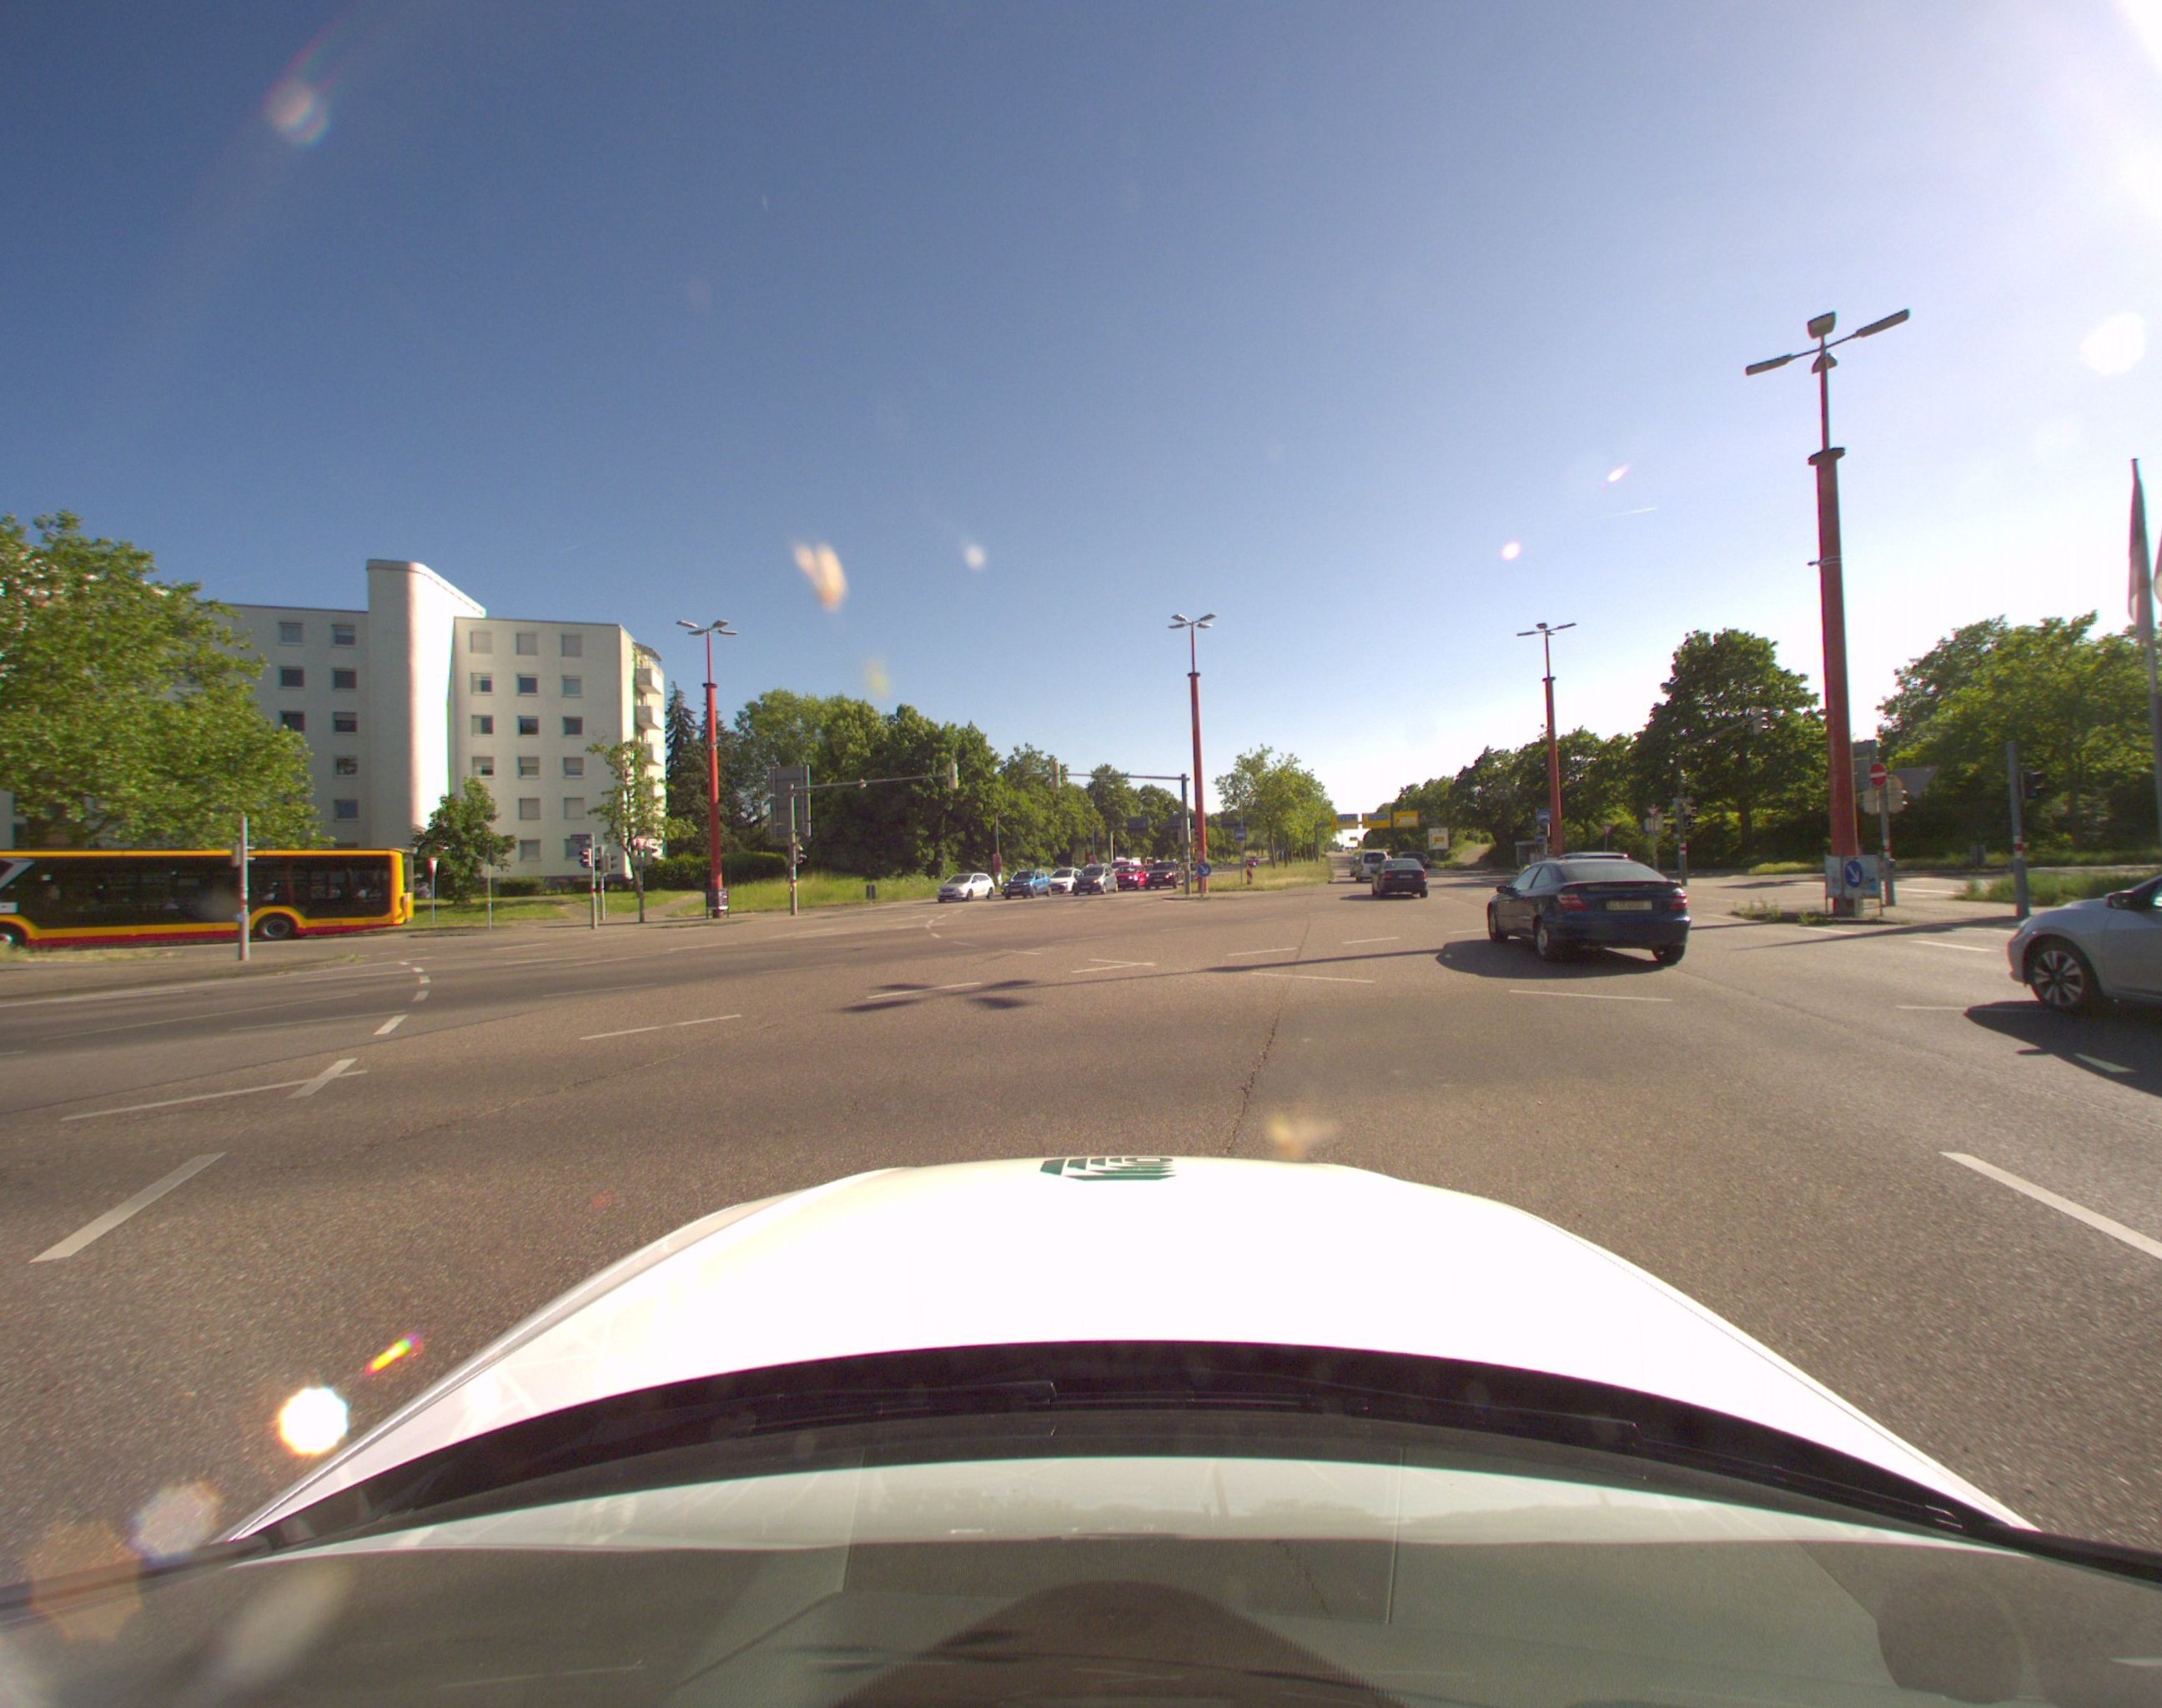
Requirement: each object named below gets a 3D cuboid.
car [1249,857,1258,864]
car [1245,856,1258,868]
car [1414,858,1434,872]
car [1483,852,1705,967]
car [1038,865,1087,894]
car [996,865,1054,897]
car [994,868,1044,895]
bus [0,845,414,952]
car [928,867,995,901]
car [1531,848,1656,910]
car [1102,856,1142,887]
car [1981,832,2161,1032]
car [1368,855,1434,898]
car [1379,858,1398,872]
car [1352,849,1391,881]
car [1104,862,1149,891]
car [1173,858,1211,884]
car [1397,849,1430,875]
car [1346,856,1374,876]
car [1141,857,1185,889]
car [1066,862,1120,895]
[{"bbox_3d":[43.287,1.596,204.818,1.901,1.846,3.977,-2,-1,16],"label":"car"},{"bbox_3d":[27.473,1.224,131.393,1.903,1.846,3.971,-2,-1,10],"label":"car"},{"bbox_3d":[38.134,1.203,90.584,1.582,1.491,3.697,-1,-1,16],"label":"car"},{"bbox_3d":[7.407,0.723,12.236,1.705,1.420,4.066,-2,-1,16],"label":"car"},{"bbox_3d":[-1.072,1.512,48.972,1.887,1.555,4.015,-3,-1,14],"label":"car"},{"bbox_3d":[-2.892,1.414,43.068,1.787,1.516,3.875,-4,-1,16],"label":"car"},{"bbox_3d":[-3.987,1.761,52.882,1.870,1.513,4.017,-3,-1,16],"label":"car"},{"bbox_3d":[-31.062,1.392,27.808,12.581,3.261,2.627,0,-1,-33],"label":"bus"},{"bbox_3d":[-6.327,1.573,43.720,1.862,1.652,4.237,-3,-2,17],"label":"car"},{"bbox_3d":[13.592,0.639,21.876,1.754,1.508,4.243,-1,-1,16],"label":"car"},{"bbox_3d":[3.169,1.291,61.922,1.947,2.155,5.102,-2,-1,15],"label":"car"},{"bbox_3d":[8.933,0.581,5.619,1.708,1.517,4.155,-1,0,16],"label":"car"},{"bbox_3d":[11.937,0.798,30.612,1.701,1.454,4.213,-2,-1,14],"label":"car"},{"bbox_3d":[35.153,1.239,93.226,1.703,1.608,3.863,-1,-1,16],"label":"car"},{"bbox_3d":[17.423,0.650,49.010,1.791,1.821,4.604,-1,-1,15],"label":"car"},{"bbox_3d":[2.810,1.338,49.308,1.861,1.552,4.015,-5,-2,14],"label":"car"},{"bbox_3d":[7.310,1.087,53.507,1.871,1.543,4.016,-3,-1,15],"label":"car"},{"bbox_3d":[26.383,0.630,64.751,1.790,1.852,5.125,-3,-1,16],"label":"car"},{"bbox_3d":[21.592,0.934,63.155,1.790,1.493,4.702,-1,-1,17],"label":"car"},{"bbox_3d":[4.709,1.047,46.433,1.780,1.626,4.159,-3,-1,15],"label":"car"},{"bbox_3d":[0.694,1.262,43.290,1.860,1.550,4.044,-4,-1,15],"label":"car"}]
